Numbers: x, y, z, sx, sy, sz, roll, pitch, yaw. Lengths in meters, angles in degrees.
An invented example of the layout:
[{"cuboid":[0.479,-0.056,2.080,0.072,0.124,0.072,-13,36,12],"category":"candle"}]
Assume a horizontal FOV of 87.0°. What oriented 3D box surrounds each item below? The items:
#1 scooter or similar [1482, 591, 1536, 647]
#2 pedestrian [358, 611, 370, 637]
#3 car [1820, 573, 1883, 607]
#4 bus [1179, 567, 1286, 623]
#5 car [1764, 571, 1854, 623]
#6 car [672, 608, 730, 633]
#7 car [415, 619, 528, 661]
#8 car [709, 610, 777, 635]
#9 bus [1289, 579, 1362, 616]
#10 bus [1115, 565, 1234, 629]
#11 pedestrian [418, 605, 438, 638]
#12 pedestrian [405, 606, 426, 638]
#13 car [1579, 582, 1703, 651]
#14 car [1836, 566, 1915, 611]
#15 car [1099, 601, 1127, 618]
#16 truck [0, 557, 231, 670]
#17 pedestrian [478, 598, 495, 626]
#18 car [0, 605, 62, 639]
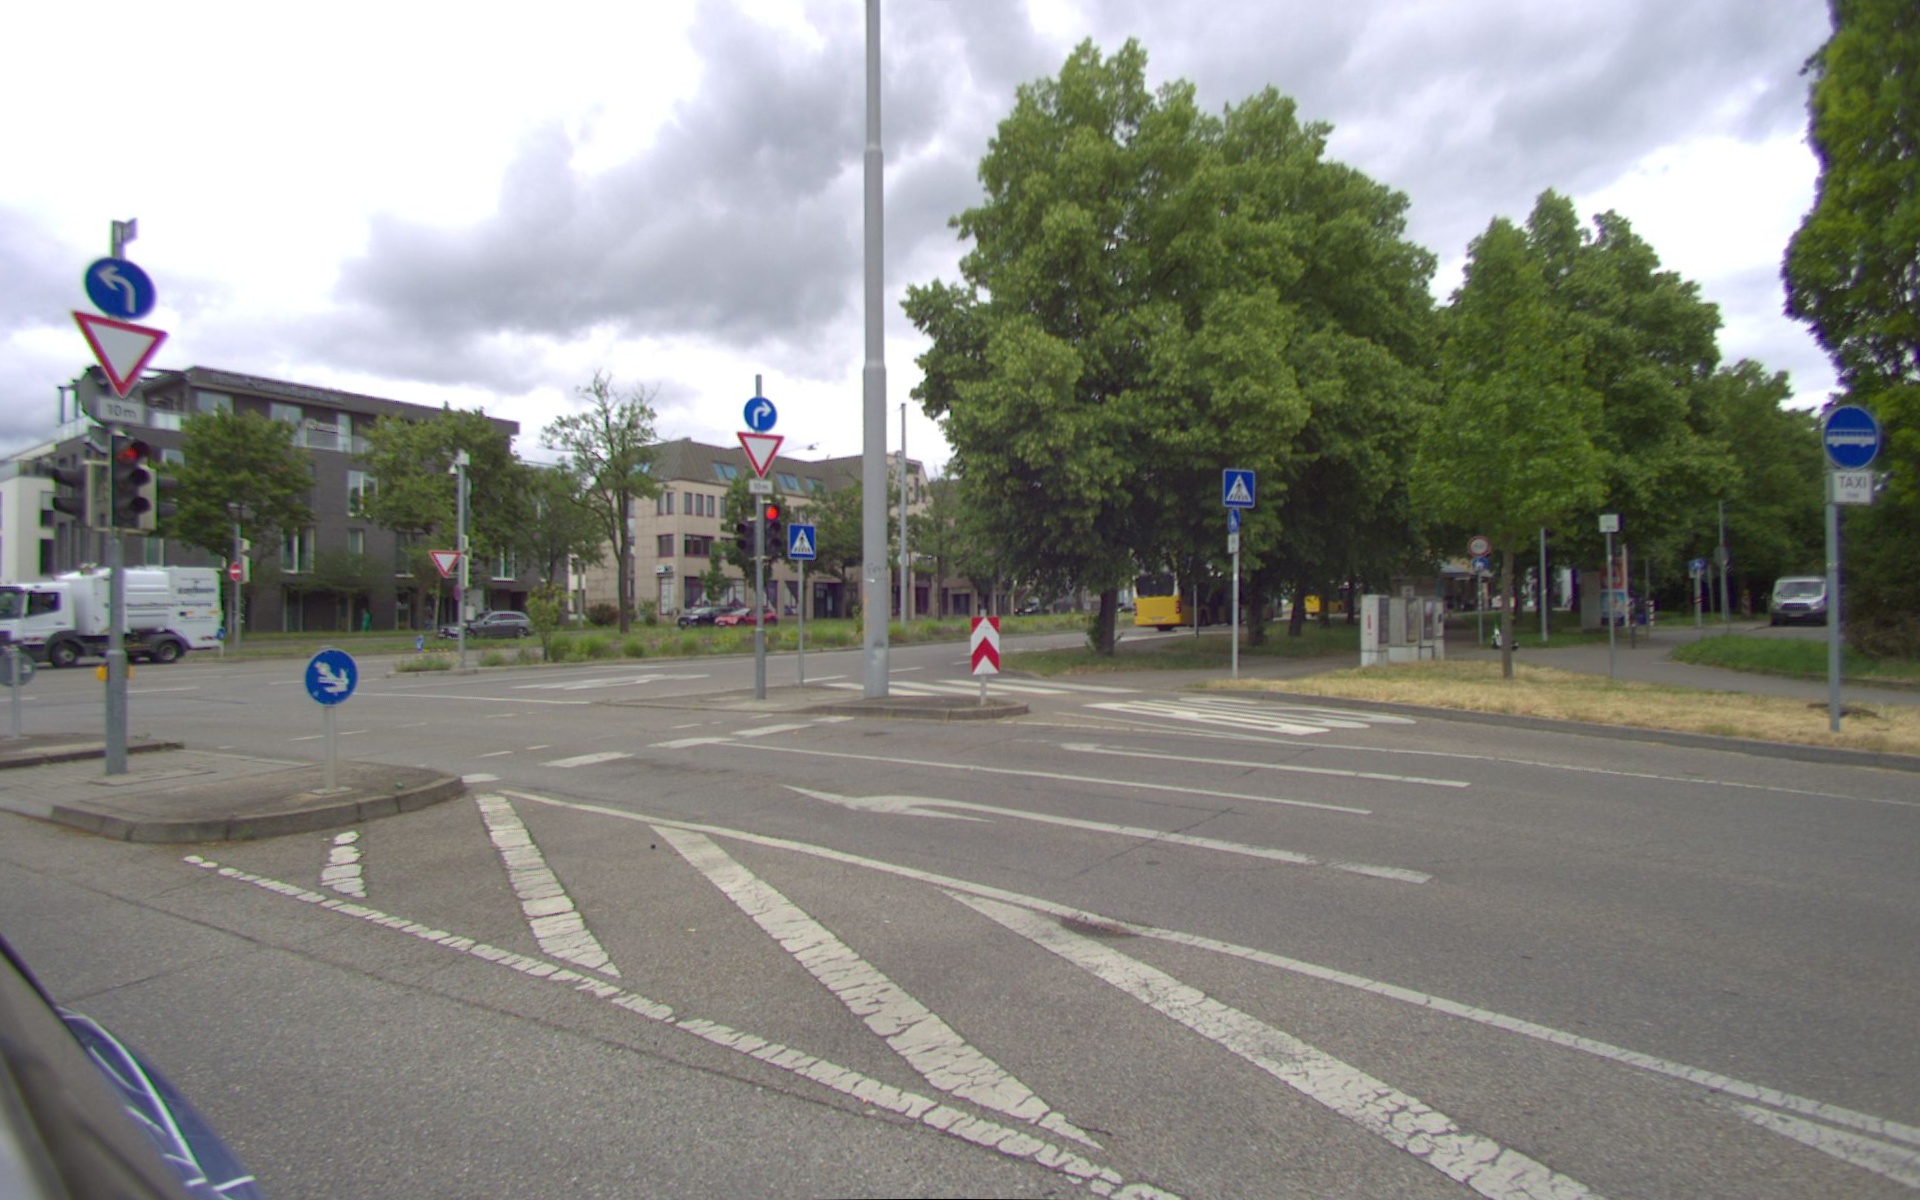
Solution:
[{"cuboid":[14.849,0.491,27.416,0.548,1.457,1.592,-2,0,0],"category":"scooter or similar"},{"cuboid":[-32.257,1.306,54.763,0.526,1.367,0.661,-2,0,-32],"category":"pedestrian"},{"cuboid":[55.485,-0.633,62.976,4.517,1.953,2.004,-2,0,-37],"category":"car"},{"cuboid":[16.484,-0.346,60.601,3.046,3.031,9.583,-3,0,35],"category":"bus"},{"cuboid":[38.409,-0.160,45.733,5.223,2.133,2.224,-2,0,-40],"category":"car"},{"cuboid":[-16.664,1.366,65.328,1.758,1.497,3.875,-2,-3,21],"category":"car"},{"cuboid":[-23.323,1.873,48.477,1.990,1.707,4.562,-3,0,27],"category":"car"},{"cuboid":[-13.679,1.441,64.124,1.818,1.497,4.333,-3,-3,29],"category":"car"},{"cuboid":[32.999,-0.318,91.103,3.291,3.031,10.103,-3,0,37],"category":"bus"},{"cuboid":[11.410,-0.177,53.222,3.046,3.031,8.331,-3,0,35],"category":"bus"},{"cuboid":[-29.515,1.181,56.122,0.690,1.759,0.643,-3,0,27],"category":"pedestrian"},{"cuboid":[-30.271,1.215,56.246,0.690,1.759,0.692,-3,0,27],"category":"pedestrian"},{"cuboid":[17.819,0.392,26.421,3.887,1.682,1.650,0,0,-39],"category":"car"},{"cuboid":[48.217,-0.621,53.255,5.406,2.107,2.322,-2,0,-40],"category":"car"},{"cuboid":[18.146,1.130,120.096,1.992,1.829,3.960,-3,0,29],"category":"car"},{"cuboid":[-27.392,0.359,32.389,2.417,3.219,6.430,1,0,17],"category":"truck"},{"cuboid":[-28.114,0.710,60.052,0.691,1.632,0.592,-3,0,32],"category":"pedestrian"},{"cuboid":[-47.136,1.110,49.760,1.995,1.613,4.077,-3,-3,34],"category":"car"}]
